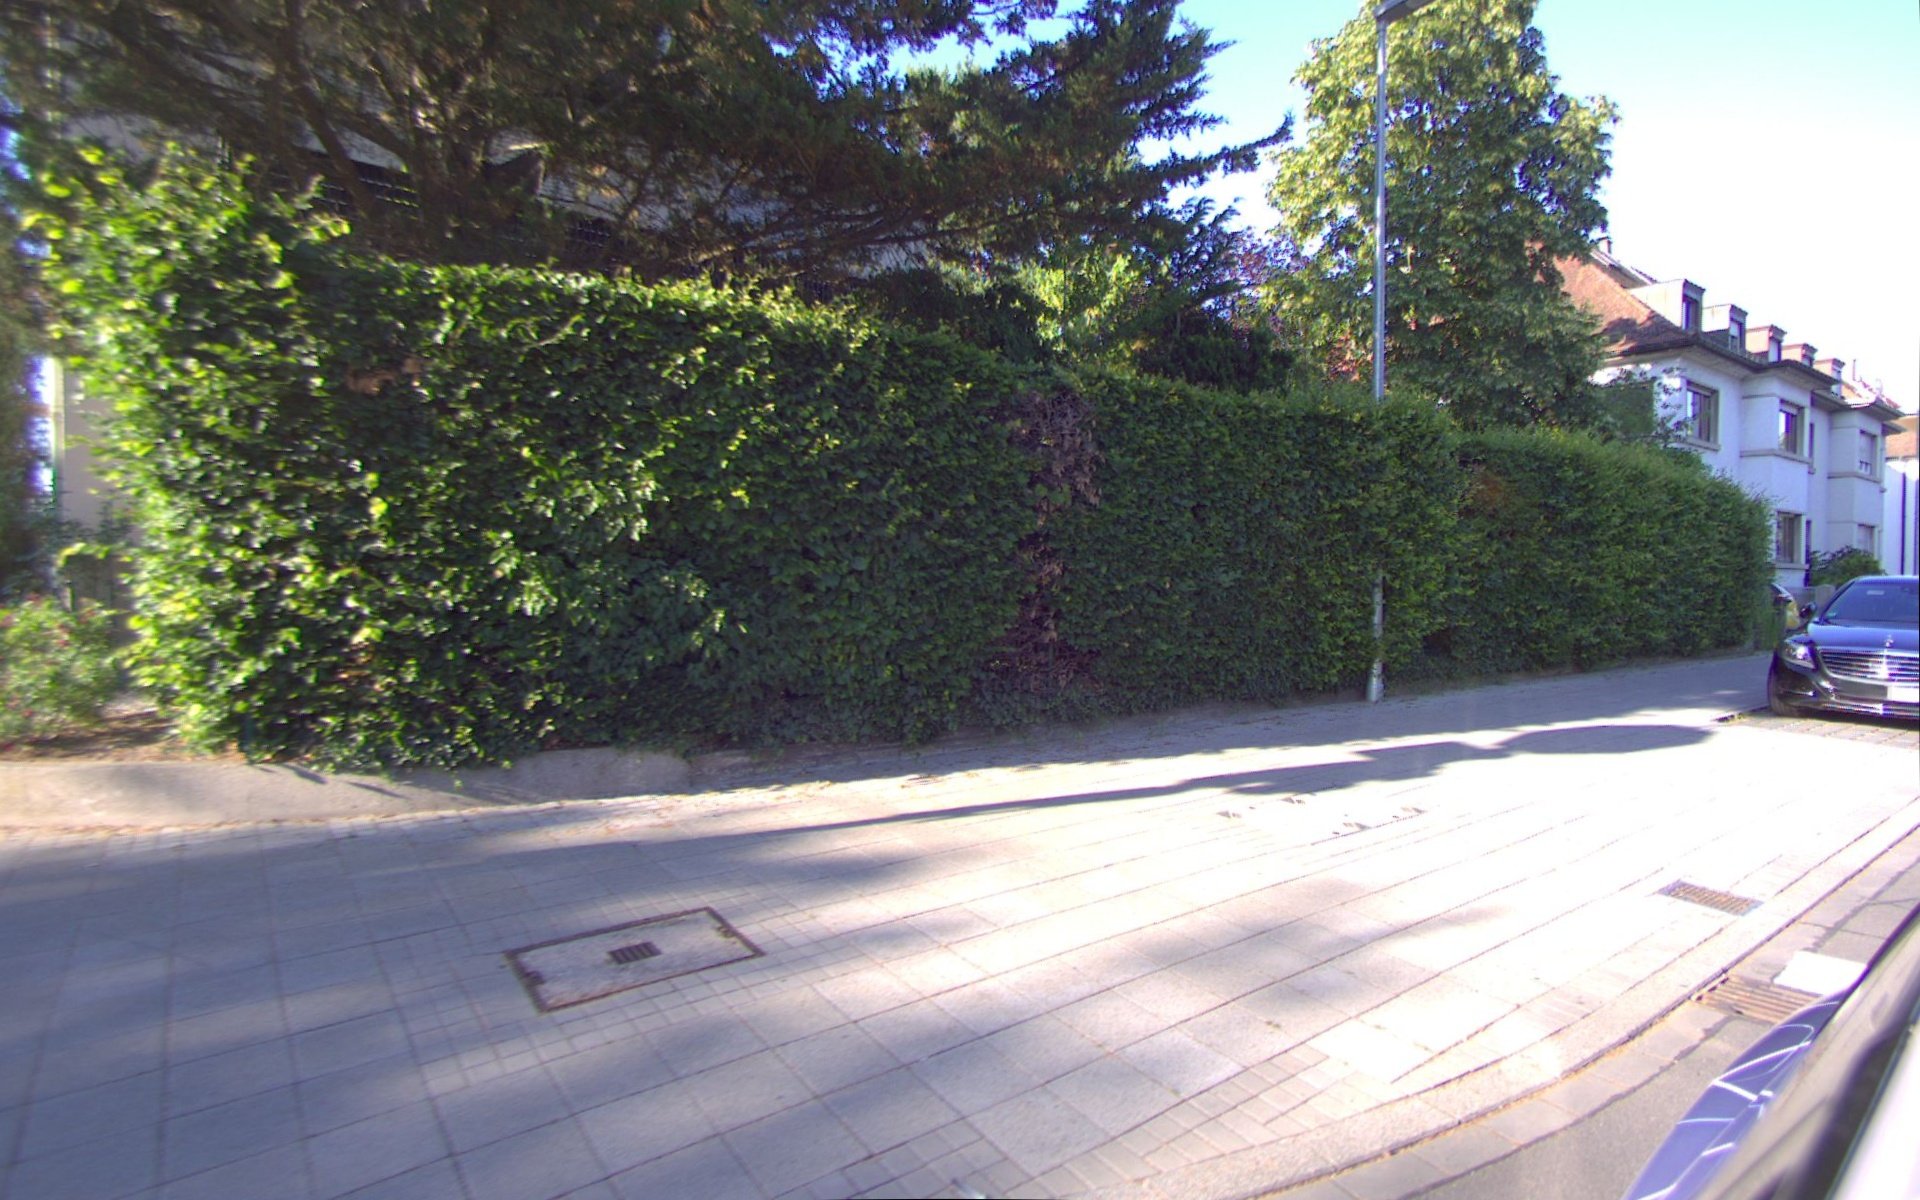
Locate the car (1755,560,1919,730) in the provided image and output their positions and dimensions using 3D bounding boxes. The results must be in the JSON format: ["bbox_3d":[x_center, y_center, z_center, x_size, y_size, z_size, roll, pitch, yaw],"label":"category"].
[{"bbox_3d":[10.413,0.377,10.826,4.828,1.517,2.008,-1,3,-40],"label":"car"}]

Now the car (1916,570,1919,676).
[{"bbox_3d":[15.533,0.291,14.710,3.927,1.496,1.784,-1,-1,-38],"label":"car"}]
